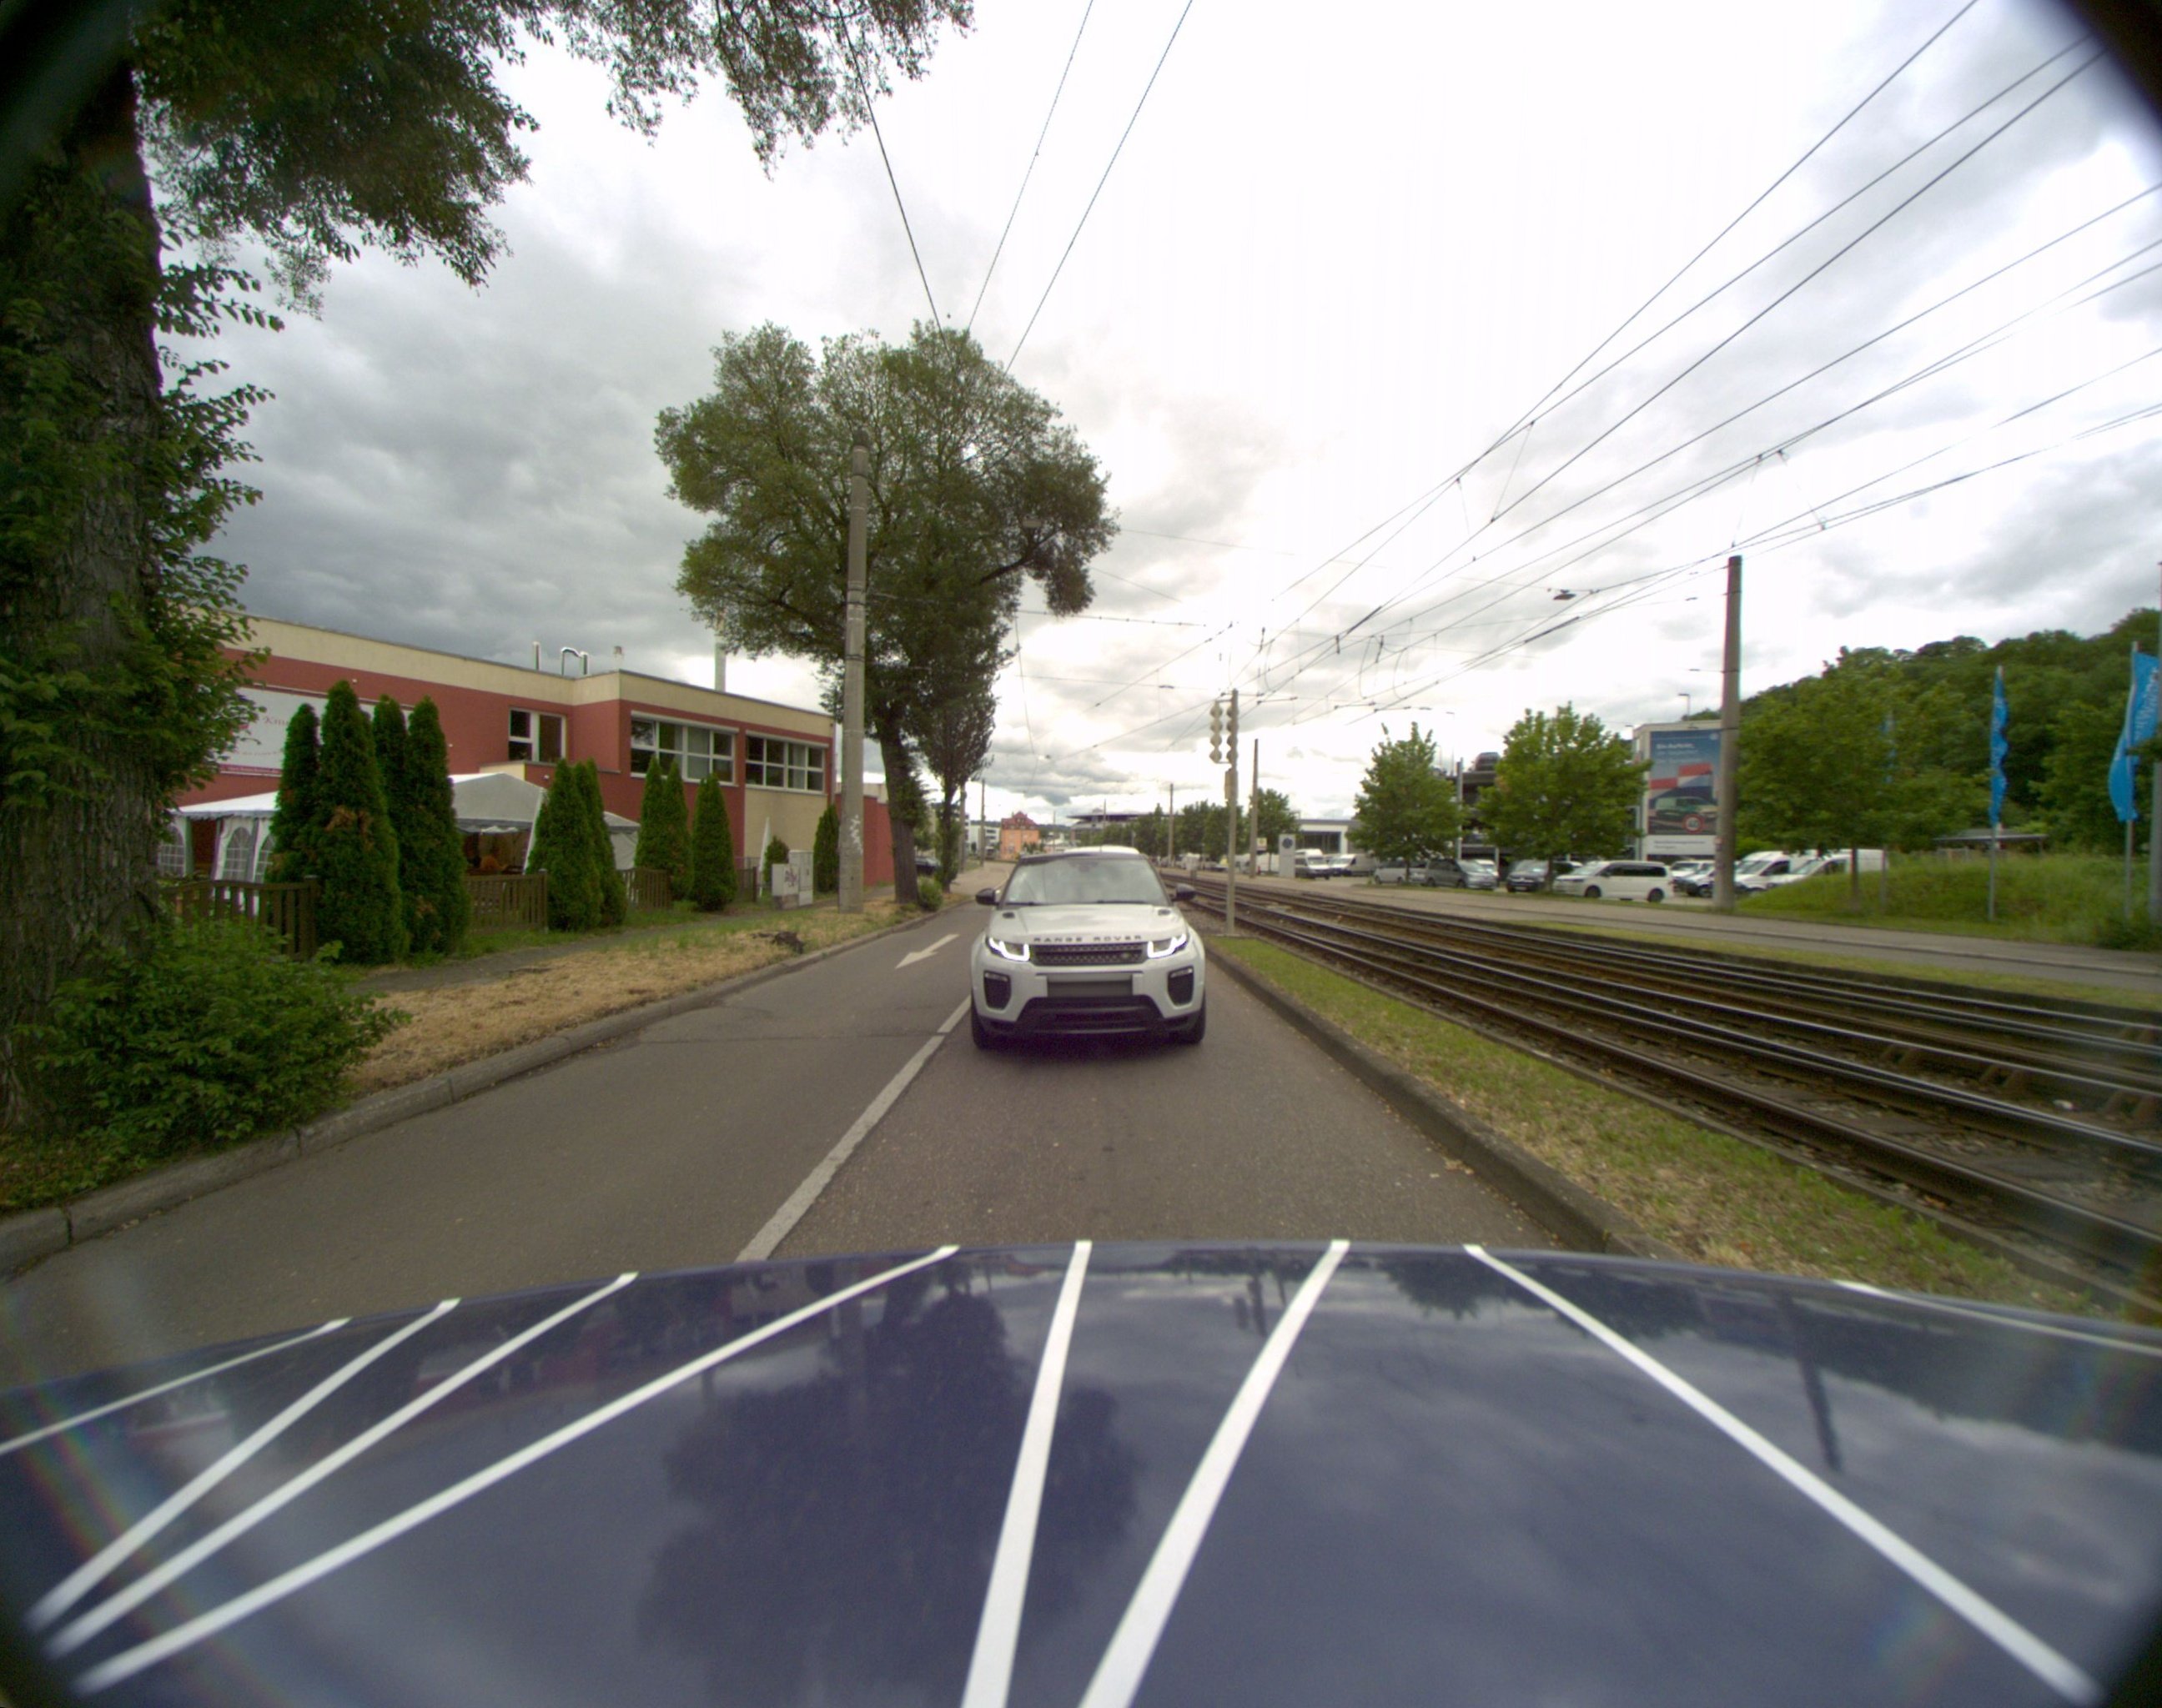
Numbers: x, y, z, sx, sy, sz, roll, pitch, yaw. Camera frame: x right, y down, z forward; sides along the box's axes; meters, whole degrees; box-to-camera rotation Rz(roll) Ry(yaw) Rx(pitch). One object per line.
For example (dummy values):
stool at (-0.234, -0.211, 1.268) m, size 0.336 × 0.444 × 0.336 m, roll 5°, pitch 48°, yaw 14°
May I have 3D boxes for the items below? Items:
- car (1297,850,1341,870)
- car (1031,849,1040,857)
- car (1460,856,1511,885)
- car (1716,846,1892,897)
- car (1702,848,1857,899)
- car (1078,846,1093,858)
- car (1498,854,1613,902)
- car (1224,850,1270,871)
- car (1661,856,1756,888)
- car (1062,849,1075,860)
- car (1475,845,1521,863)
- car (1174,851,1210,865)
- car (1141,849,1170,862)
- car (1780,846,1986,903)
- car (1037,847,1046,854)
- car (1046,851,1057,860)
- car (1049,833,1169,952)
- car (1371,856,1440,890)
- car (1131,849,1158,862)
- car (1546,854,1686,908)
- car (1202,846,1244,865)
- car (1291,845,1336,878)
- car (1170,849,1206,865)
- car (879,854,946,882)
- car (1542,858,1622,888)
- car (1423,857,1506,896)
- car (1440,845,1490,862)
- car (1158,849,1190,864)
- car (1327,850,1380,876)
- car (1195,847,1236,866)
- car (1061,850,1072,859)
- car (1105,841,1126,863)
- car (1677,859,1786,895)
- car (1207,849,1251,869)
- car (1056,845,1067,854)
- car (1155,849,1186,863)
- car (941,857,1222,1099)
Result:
car at (29.126, 0.723, 93.023) m, size 4.636 × 2.196 × 2.108 m, roll -2°, pitch 1°, yaw -1°
car at (-11.550, -0.237, 191.000) m, size 2.000 × 2.002 × 3.997 m, roll -2°, pitch 1°, yaw -7°
car at (28.889, 1.150, 54.404) m, size 1.900 × 1.882 × 4.600 m, roll -2°, pitch 1°, yaw 12°
car at (34.894, 0.861, 36.932) m, size 5.839 × 2.254 × 2.056 m, roll -2°, pitch 1°, yaw 22°
car at (36.584, 1.012, 39.985) m, size 5.652 × 2.446 × 1.983 m, roll -2°, pitch 1°, yaw 19°
car at (0.788, -0.371, 127.106) m, size 2.000 × 2.002 × 3.997 m, roll -2°, pitch 1°, yaw -7°
car at (24.689, 1.217, 39.659) m, size 4.774 × 2.254 × 1.979 m, roll -2°, pitch 1°, yaw -3°
car at (18.811, 0.691, 86.087) m, size 4.639 × 2.196 × 2.107 m, roll -2°, pitch 1°, yaw -8°
car at (39.885, 1.129, 48.393) m, size 4.228 × 1.826 × 1.983 m, roll -2°, pitch 1°, yaw 19°
car at (-2.468, 0.108, 150.307) m, size 2.000 × 2.002 × 3.997 m, roll -2°, pitch 1°, yaw -7°
car at (47.213, -0.030, 86.102) m, size 4.227 × 1.826 × 1.983 m, roll -2°, pitch 1°, yaw 21°
car at (15.781, 0.598, 108.154) m, size 4.639 × 1.829 × 2.107 m, roll -2°, pitch 1°, yaw -8°
car at (13.020, 0.245, 132.833) m, size 4.639 × 2.196 × 2.107 m, roll -2°, pitch 1°, yaw -8°
car at (34.682, 0.912, 33.122) m, size 5.850 × 2.254 × 2.056 m, roll -2°, pitch 1°, yaw 22°
car at (-10.626, -0.954, 205.068) m, size 2.000 × 2.002 × 3.997 m, roll -2°, pitch 1°, yaw -7°
car at (-6.490, 0.340, 164.950) m, size 2.000 × 2.002 × 3.997 m, roll -2°, pitch 1°, yaw -7°
car at (0.499, 0.624, 15.237) m, size 1.998 × 1.990 × 5.034 m, roll 0°, pitch 1°, yaw 1°
car at (22.136, 1.257, 52.099) m, size 2.142 × 2.104 × 4.772 m, roll -2°, pitch 1°, yaw -8°
car at (11.855, 0.196, 141.316) m, size 4.639 × 2.196 × 2.107 m, roll -2°, pitch 1°, yaw -8°
car at (25.265, 1.242, 35.994) m, size 5.269 × 2.254 × 1.999 m, roll -2°, pitch 1°, yaw -3°
car at (17.498, 0.144, 93.607) m, size 4.639 × 2.196 × 2.107 m, roll -2°, pitch 1°, yaw -8°
car at (22.411, 0.679, 73.590) m, size 2.320 × 2.994 × 6.157 m, roll -2°, pitch 1°, yaw 0°
car at (15.545, 0.397, 110.560) m, size 4.639 × 2.196 × 2.107 m, roll -2°, pitch 1°, yaw -8°
car at (-10.950, 0.900, 49.564) m, size 3.999 × 1.636 × 1.895 m, roll -2°, pitch 1°, yaw -6°
car at (34.408, 1.303, 52.311) m, size 4.228 × 1.826 × 1.983 m, roll -2°, pitch 1°, yaw 19°
car at (23.012, 1.292, 45.872) m, size 2.142 × 2.104 × 4.773 m, roll -2°, pitch 1°, yaw -7°
car at (46.346, -0.109, 91.794) m, size 5.216 × 1.826 × 1.983 m, roll -2°, pitch 1°, yaw 21°
car at (14.767, 0.316, 120.481) m, size 4.639 × 2.196 × 2.107 m, roll -2°, pitch 1°, yaw -8°
car at (30.333, 0.977, 84.560) m, size 6.057 × 2.608 × 2.316 m, roll -3°, pitch 1°, yaw -34°
car at (17.078, 0.325, 96.391) m, size 4.639 × 2.196 × 2.107 m, roll -2°, pitch 1°, yaw -8°
car at (-3.311, 0.142, 170.032) m, size 2.000 × 2.002 × 3.997 m, roll -2°, pitch 1°, yaw -7°
car at (4.858, -0.255, 108.182) m, size 2.410 × 2.931 × 4.747 m, roll -2°, pitch 1°, yaw -2°
car at (36.664, 1.286, 42.980) m, size 4.228 × 1.826 × 1.983 m, roll -2°, pitch 1°, yaw 19°
car at (17.706, 0.609, 91.171) m, size 4.639 × 2.196 × 2.107 m, roll -2°, pitch 1°, yaw -8°
car at (-4.628, -1.041, 178.509) m, size 2.000 × 2.002 × 3.997 m, roll -2°, pitch 1°, yaw -7°
car at (14.490, 0.300, 122.916) m, size 4.639 × 2.196 × 2.107 m, roll -2°, pitch 1°, yaw -8°
car at (0.005, 0.891, 7.535) m, size 1.998 × 1.680 × 4.268 m, roll 0°, pitch 1°, yaw 0°
